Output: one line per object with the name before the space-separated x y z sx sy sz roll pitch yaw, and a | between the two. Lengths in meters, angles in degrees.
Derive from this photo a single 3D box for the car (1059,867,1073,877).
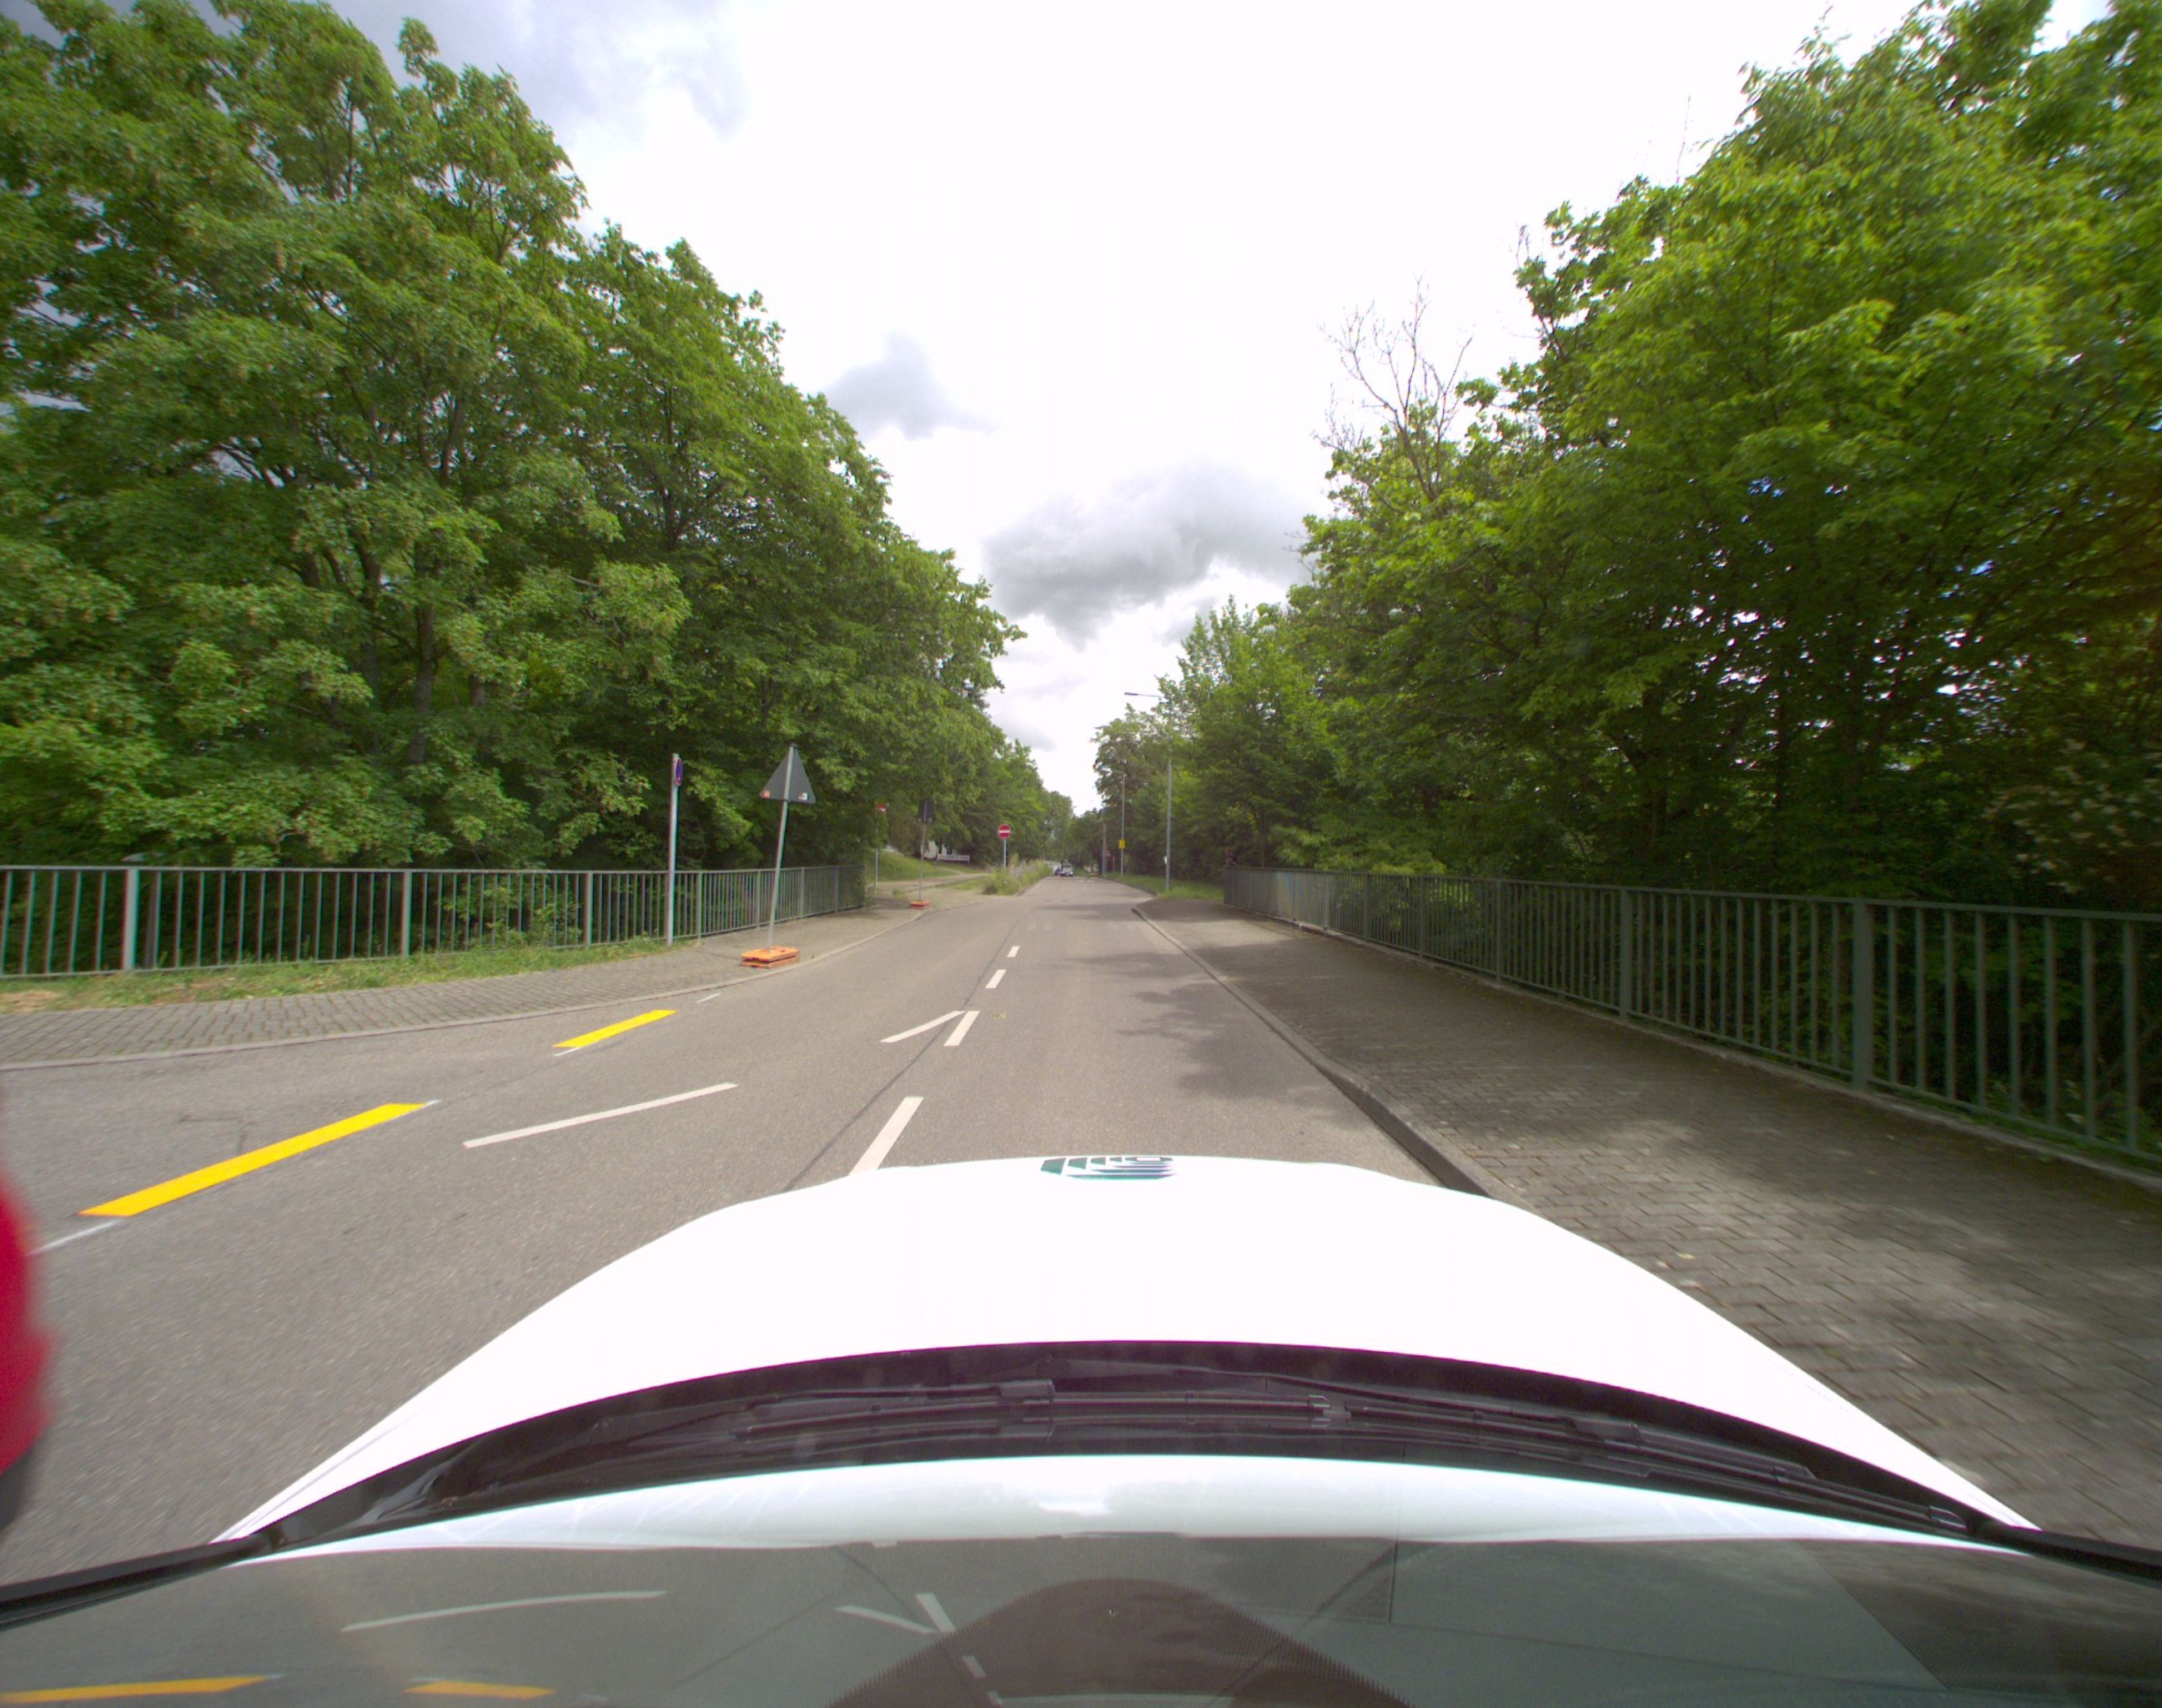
car | -2.060 2.461 113.057 1.686 1.349 4.095 1 -1 2

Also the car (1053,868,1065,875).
car | -4.665 3.675 171.814 1.969 1.384 4.007 2 -1 6

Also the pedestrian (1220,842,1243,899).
pedestrian | 4.841 0.533 26.153 0.582 1.783 0.686 0 -1 22

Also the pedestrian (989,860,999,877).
pedestrian | -10.798 1.788 100.785 0.867 2.014 0.872 -5 -6 44
